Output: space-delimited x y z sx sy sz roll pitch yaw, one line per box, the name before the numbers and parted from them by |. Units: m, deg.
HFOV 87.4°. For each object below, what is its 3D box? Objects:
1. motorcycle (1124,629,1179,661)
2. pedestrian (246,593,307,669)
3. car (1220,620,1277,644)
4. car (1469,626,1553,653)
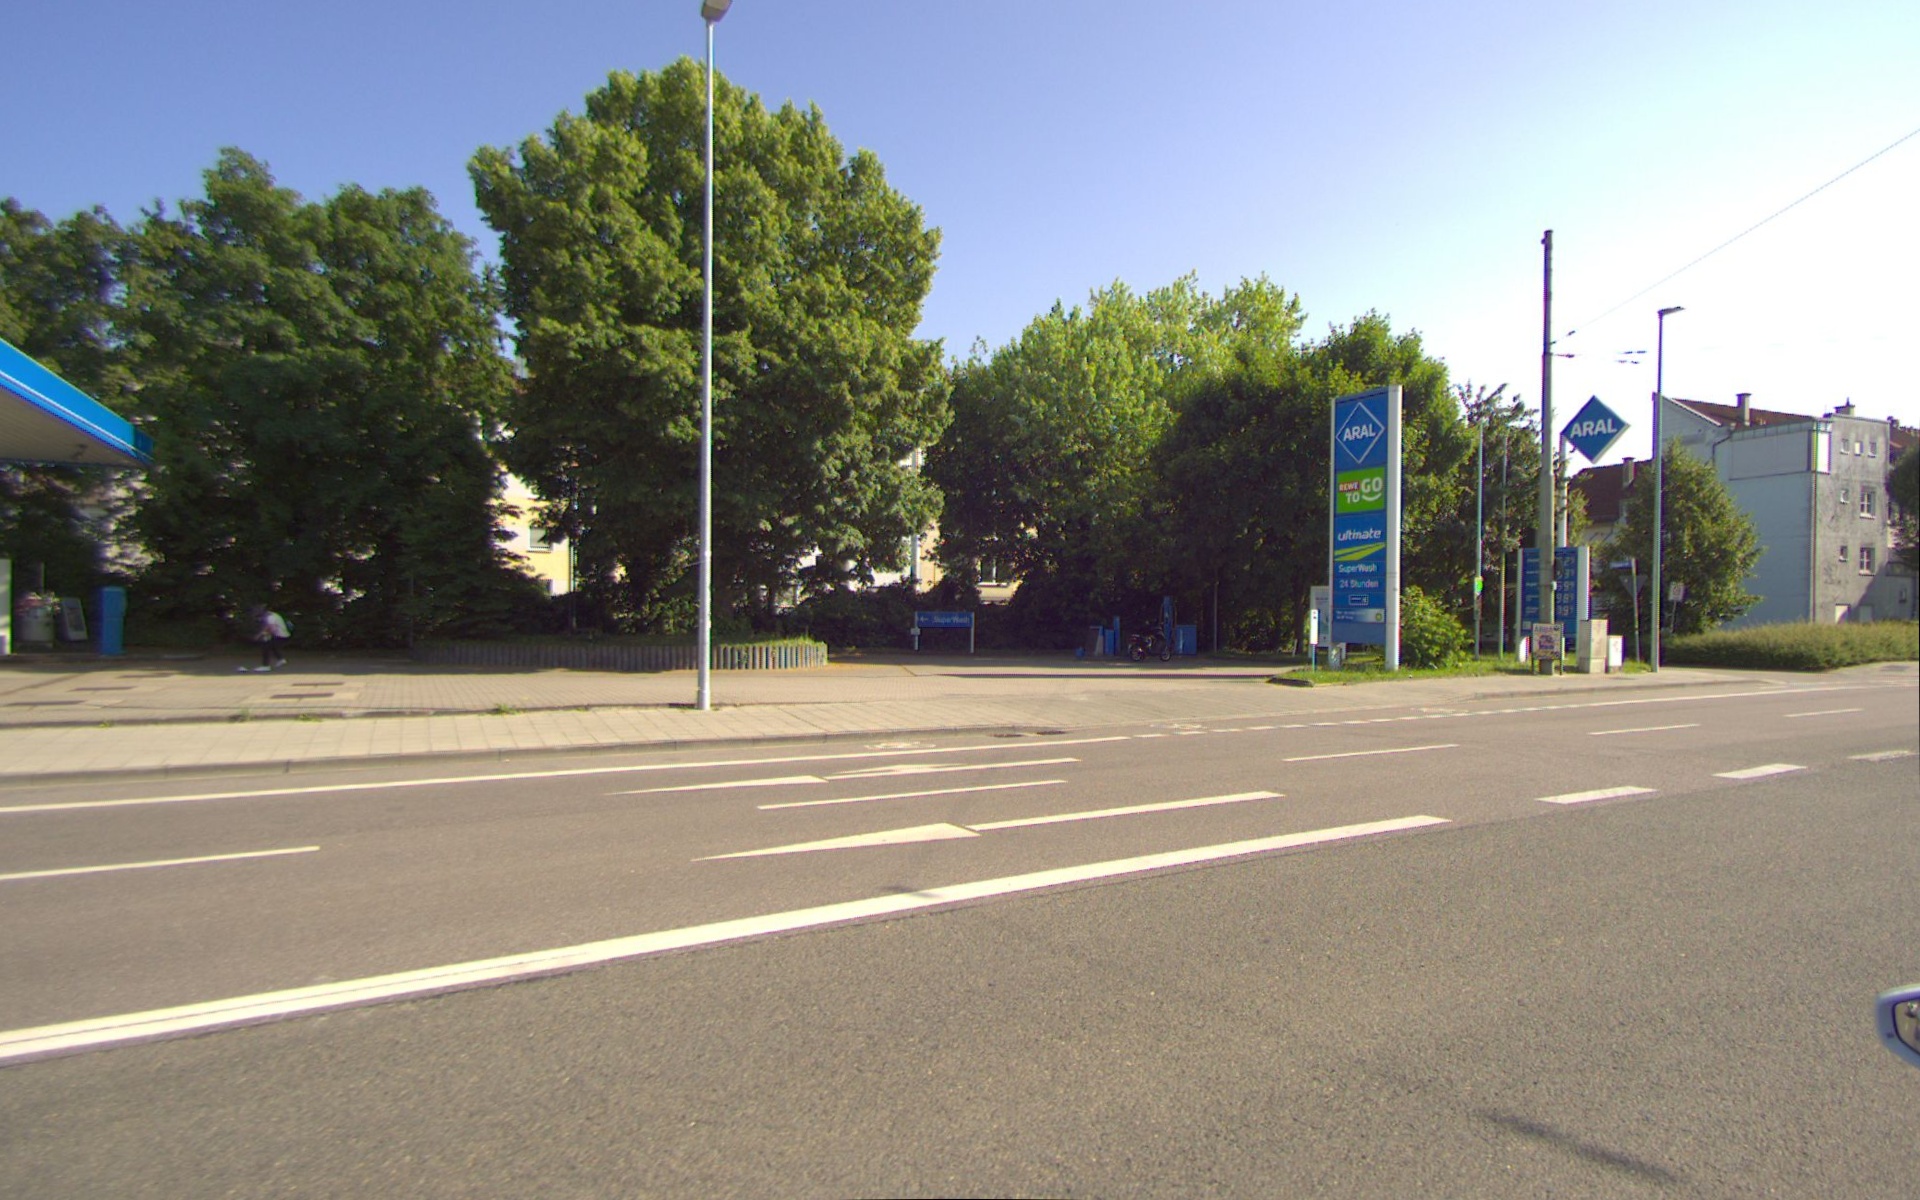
motorcycle | 6.184 1.451 32.424 1.883 0.995 0.514 1 -1 -31
pedestrian | -16.008 0.721 23.550 1.053 1.735 0.818 1 0 -28
car | 18.376 2.028 64.169 1.677 1.409 3.988 1 -1 -15
car | 28.981 2.048 52.914 1.716 1.285 3.781 1 -1 -17
